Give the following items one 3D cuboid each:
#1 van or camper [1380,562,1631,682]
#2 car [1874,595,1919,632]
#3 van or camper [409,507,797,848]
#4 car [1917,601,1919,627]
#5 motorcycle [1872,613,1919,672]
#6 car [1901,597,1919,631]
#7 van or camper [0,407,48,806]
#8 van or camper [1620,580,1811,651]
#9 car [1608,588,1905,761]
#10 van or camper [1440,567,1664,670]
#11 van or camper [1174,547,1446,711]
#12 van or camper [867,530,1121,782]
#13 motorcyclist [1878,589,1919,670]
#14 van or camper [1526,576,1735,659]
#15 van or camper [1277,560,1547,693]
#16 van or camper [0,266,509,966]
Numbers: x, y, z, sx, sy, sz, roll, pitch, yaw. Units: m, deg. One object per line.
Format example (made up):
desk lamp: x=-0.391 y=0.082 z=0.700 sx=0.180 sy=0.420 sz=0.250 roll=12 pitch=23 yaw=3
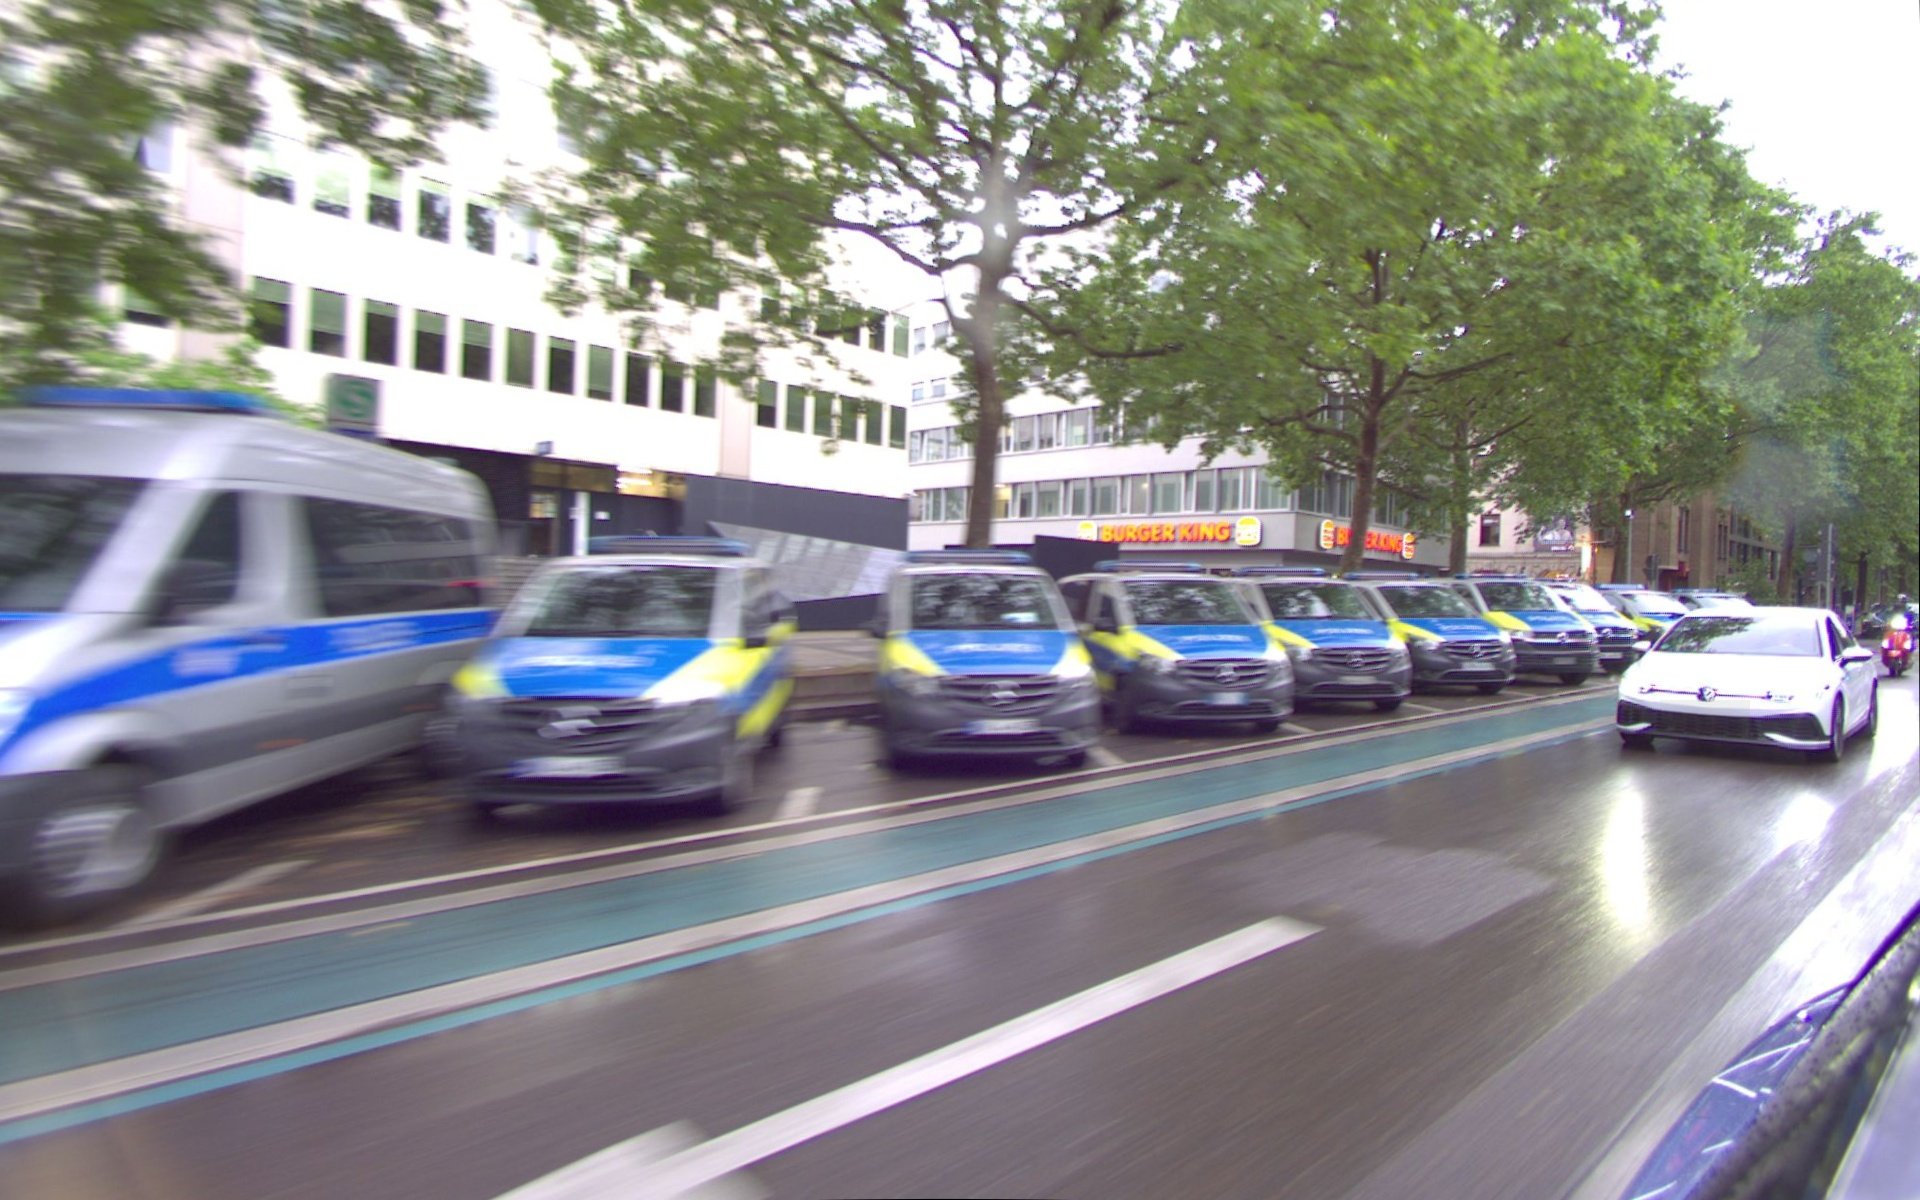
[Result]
van or camper: x=10.278 y=0.343 z=19.601 sx=1.960 sy=2.036 sz=4.800 roll=0 pitch=1 yaw=-5
car: x=43.053 y=0.598 z=46.047 sx=4.348 sy=1.623 sz=1.795 roll=0 pitch=0 yaw=-43
van or camper: x=-2.550 y=0.421 z=8.633 sx=1.960 sy=2.039 sz=5.023 roll=0 pitch=1 yaw=-5
car: x=54.938 y=0.778 z=56.496 sx=4.505 sy=1.451 sz=1.745 roll=0 pitch=0 yaw=-41
motorcycle: x=19.934 y=0.867 z=21.205 sx=0.862 sy=1.157 sz=1.999 roll=1 pitch=0 yaw=31
car: x=47.014 y=0.671 z=49.174 sx=1.752 sy=1.605 sz=4.339 roll=0 pitch=0 yaw=44
van or camper: x=-7.412 y=0.067 z=4.284 sx=2.105 sy=2.711 sz=5.821 roll=1 pitch=1 yaw=-4
van or camper: x=23.048 y=0.425 z=31.185 sx=1.963 sy=2.017 sz=4.950 roll=0 pitch=0 yaw=-3
car: x=8.754 y=0.642 z=10.971 sx=4.433 sy=1.463 sz=1.864 roll=0 pitch=1 yaw=-43
van or camper: x=12.888 y=0.344 z=22.464 sx=1.831 sy=2.023 sz=4.859 roll=0 pitch=1 yaw=-4
van or camper: x=4.973 y=0.340 z=15.353 sx=2.064 sy=2.050 sz=5.111 roll=1 pitch=1 yaw=-3
van or camper: x=0.047 y=0.431 z=10.776 sx=1.960 sy=2.017 sz=5.215 roll=0 pitch=0 yaw=-6
motorcyclist: x=19.959 y=0.606 z=21.249 sx=0.842 sy=1.665 sz=0.862 roll=0 pitch=0 yaw=31
van or camper: x=17.859 y=0.434 z=27.352 sx=1.957 sy=2.045 sz=5.092 roll=0 pitch=0 yaw=-4
van or camper: x=7.729 y=0.369 z=18.010 sx=1.959 sy=2.020 sz=5.032 roll=1 pitch=1 yaw=-8
van or camper: x=-4.954 y=0.006 z=6.526 sx=1.960 sy=2.714 sz=5.819 roll=1 pitch=1 yaw=-5
